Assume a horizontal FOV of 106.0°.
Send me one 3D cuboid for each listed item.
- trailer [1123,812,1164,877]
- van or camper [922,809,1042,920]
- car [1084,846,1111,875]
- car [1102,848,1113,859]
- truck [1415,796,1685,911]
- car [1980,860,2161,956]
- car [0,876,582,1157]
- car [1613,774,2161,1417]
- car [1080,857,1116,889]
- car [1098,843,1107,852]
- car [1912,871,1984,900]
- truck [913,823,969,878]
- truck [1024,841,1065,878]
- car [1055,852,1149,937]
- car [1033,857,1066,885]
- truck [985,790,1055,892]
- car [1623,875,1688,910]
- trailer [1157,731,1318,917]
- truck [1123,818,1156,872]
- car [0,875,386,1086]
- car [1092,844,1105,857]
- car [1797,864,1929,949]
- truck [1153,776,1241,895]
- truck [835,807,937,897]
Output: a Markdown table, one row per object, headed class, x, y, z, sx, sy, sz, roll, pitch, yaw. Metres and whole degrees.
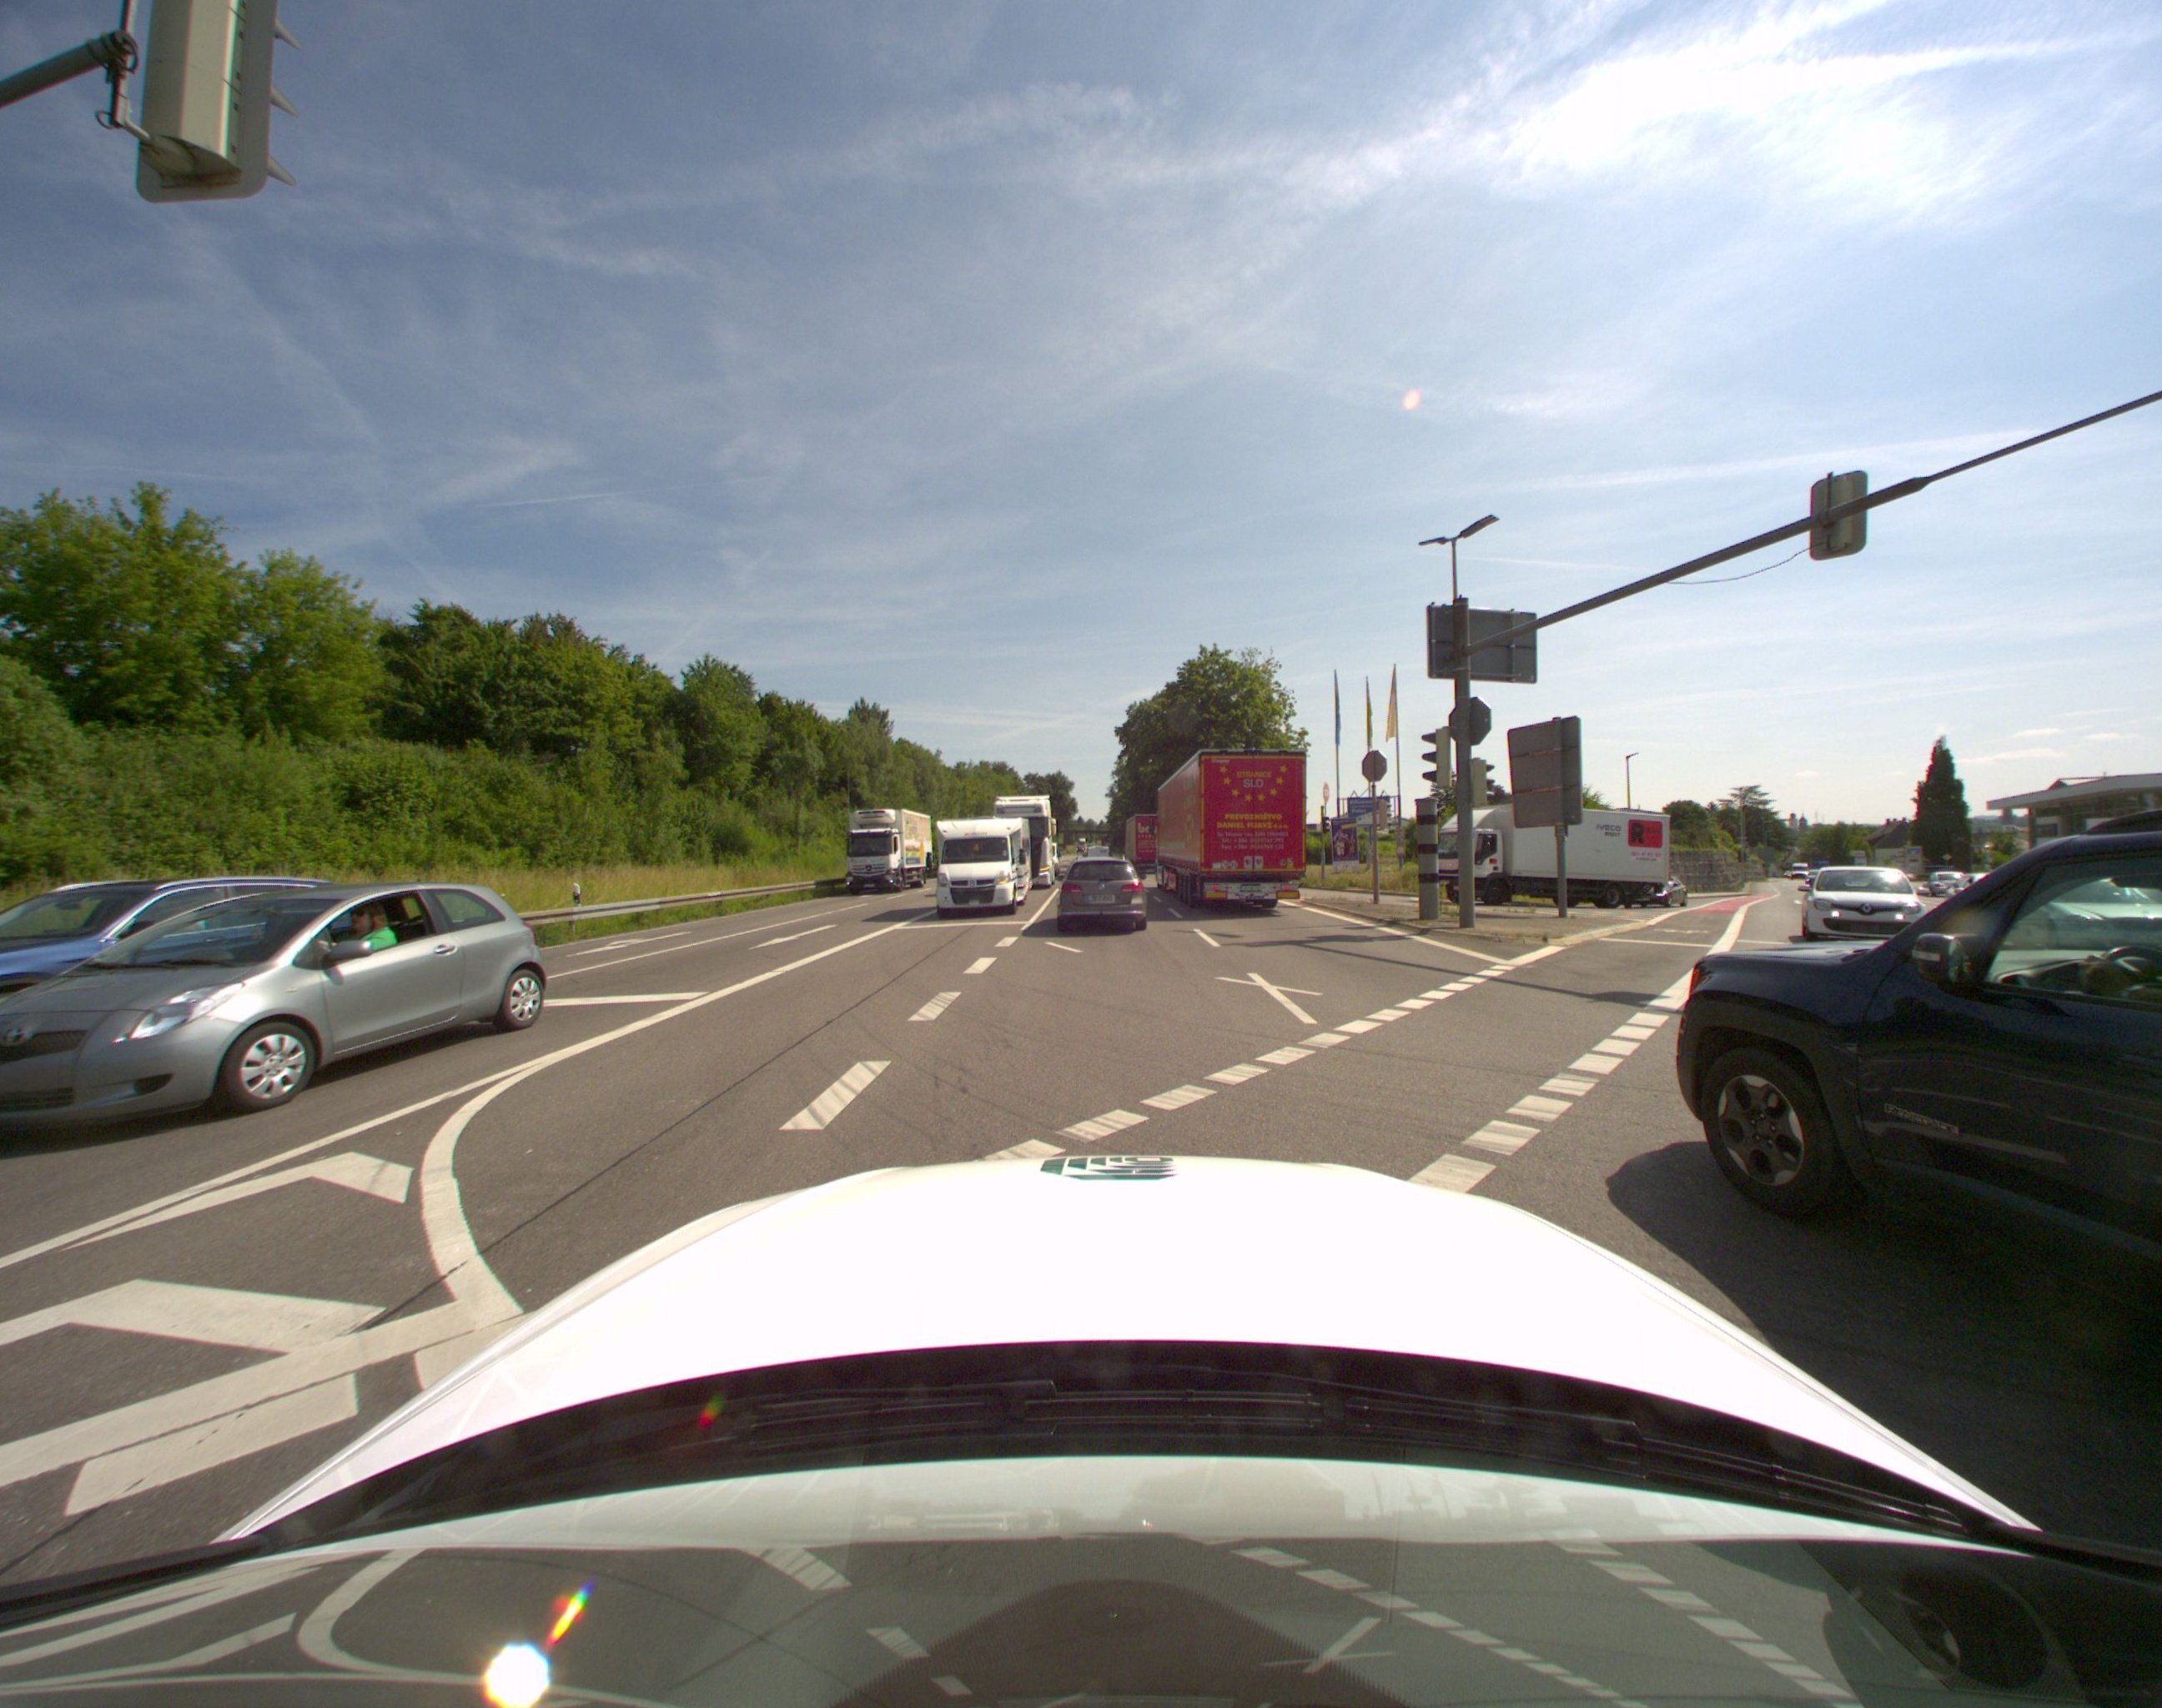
| class | x | y | z | sx | sy | sz | roll | pitch | yaw |
| --- | --- | --- | --- | --- | --- | --- | --- | --- | --- |
| trailer | 4.491 | -0.622 | 60.270 | 2.386 | 4.243 | 13.085 | -2 | 0 | 2 |
| van or camper | -2.579 | 0.270 | 23.257 | 2.322 | 2.600 | 6.980 | -2 | 0 | 1 |
| car | 1.122 | 0.445 | 58.049 | 1.765 | 1.936 | 3.977 | -2 | 0 | 0 |
| car | 5.240 | -0.047 | 162.355 | 1.987 | 2.013 | 4.000 | -2 | 0 | 0 |
| truck | 17.526 | 0.096 | 30.415 | 9.690 | 3.628 | 2.752 | 3 | -2 | -16 |
| car | 18.401 | 0.909 | 14.944 | 1.975 | 1.505 | 5.030 | 0 | -1 | 41 |
| car | -6.265 | 1.023 | 6.773 | 1.720 | 1.502 | 3.999 | -3 | 0 | 0 |
| car | 3.638 | 0.588 | 2.231 | 1.764 | 1.654 | 4.001 | -2 | 0 | 1 |
| car | 0.876 | 0.981 | 43.267 | 1.765 | 1.513 | 3.999 | -2 | 0 | 0 |
| car | 5.318 | -1.611 | 198.395 | 1.987 | 2.013 | 4.000 | -2 | 0 | 0 |
| car | 50.918 | 1.815 | 47.933 | 1.974 | 1.575 | 4.025 | 1 | 0 | 33 |
| truck | -11.471 | -0.289 | 67.644 | 2.821 | 4.116 | 9.680 | -2 | 0 | 0 |
| truck | -2.340 | 0.354 | 54.335 | 2.219 | 2.267 | 6.501 | -2 | 0 | 1 |
| car | 0.392 | 0.758 | 17.126 | 1.686 | 1.513 | 3.999 | -2 | 0 | 0 |
| car | -1.860 | 0.986 | 48.468 | 1.705 | 1.551 | 4.109 | -2 | 0 | 0 |
| truck | -2.606 | -0.535 | 36.625 | 2.529 | 4.087 | 6.263 | -2 | 0 | -1 |
| car | 26.153 | 1.719 | 36.989 | 1.974 | 1.460 | 4.347 | -3 | -2 | 40 |
| trailer | 4.314 | -0.700 | 25.820 | 2.829 | 4.365 | 13.170 | 0 | 0 | 1 |
| truck | 4.741 | -0.700 | 66.762 | 2.397 | 4.127 | 5.524 | -2 | 0 | 2 |
| car | -10.066 | 1.147 | 8.430 | 1.987 | 1.676 | 4.306 | -2 | 0 | 0 |
| car | 3.047 | -0.609 | 141.405 | 1.987 | 2.013 | 4.000 | -2 | 0 | 0 |
| car | 15.661 | 0.978 | 16.475 | 1.689 | 1.504 | 3.778 | 0 | -2 | 41 |
| truck | 4.451 | -0.661 | 32.423 | 2.859 | 4.281 | 5.842 | 0 | 0 | 2 |
| truck | -9.705 | -0.073 | 41.772 | 2.720 | 3.999 | 9.619 | -2 | 0 | 0 |
